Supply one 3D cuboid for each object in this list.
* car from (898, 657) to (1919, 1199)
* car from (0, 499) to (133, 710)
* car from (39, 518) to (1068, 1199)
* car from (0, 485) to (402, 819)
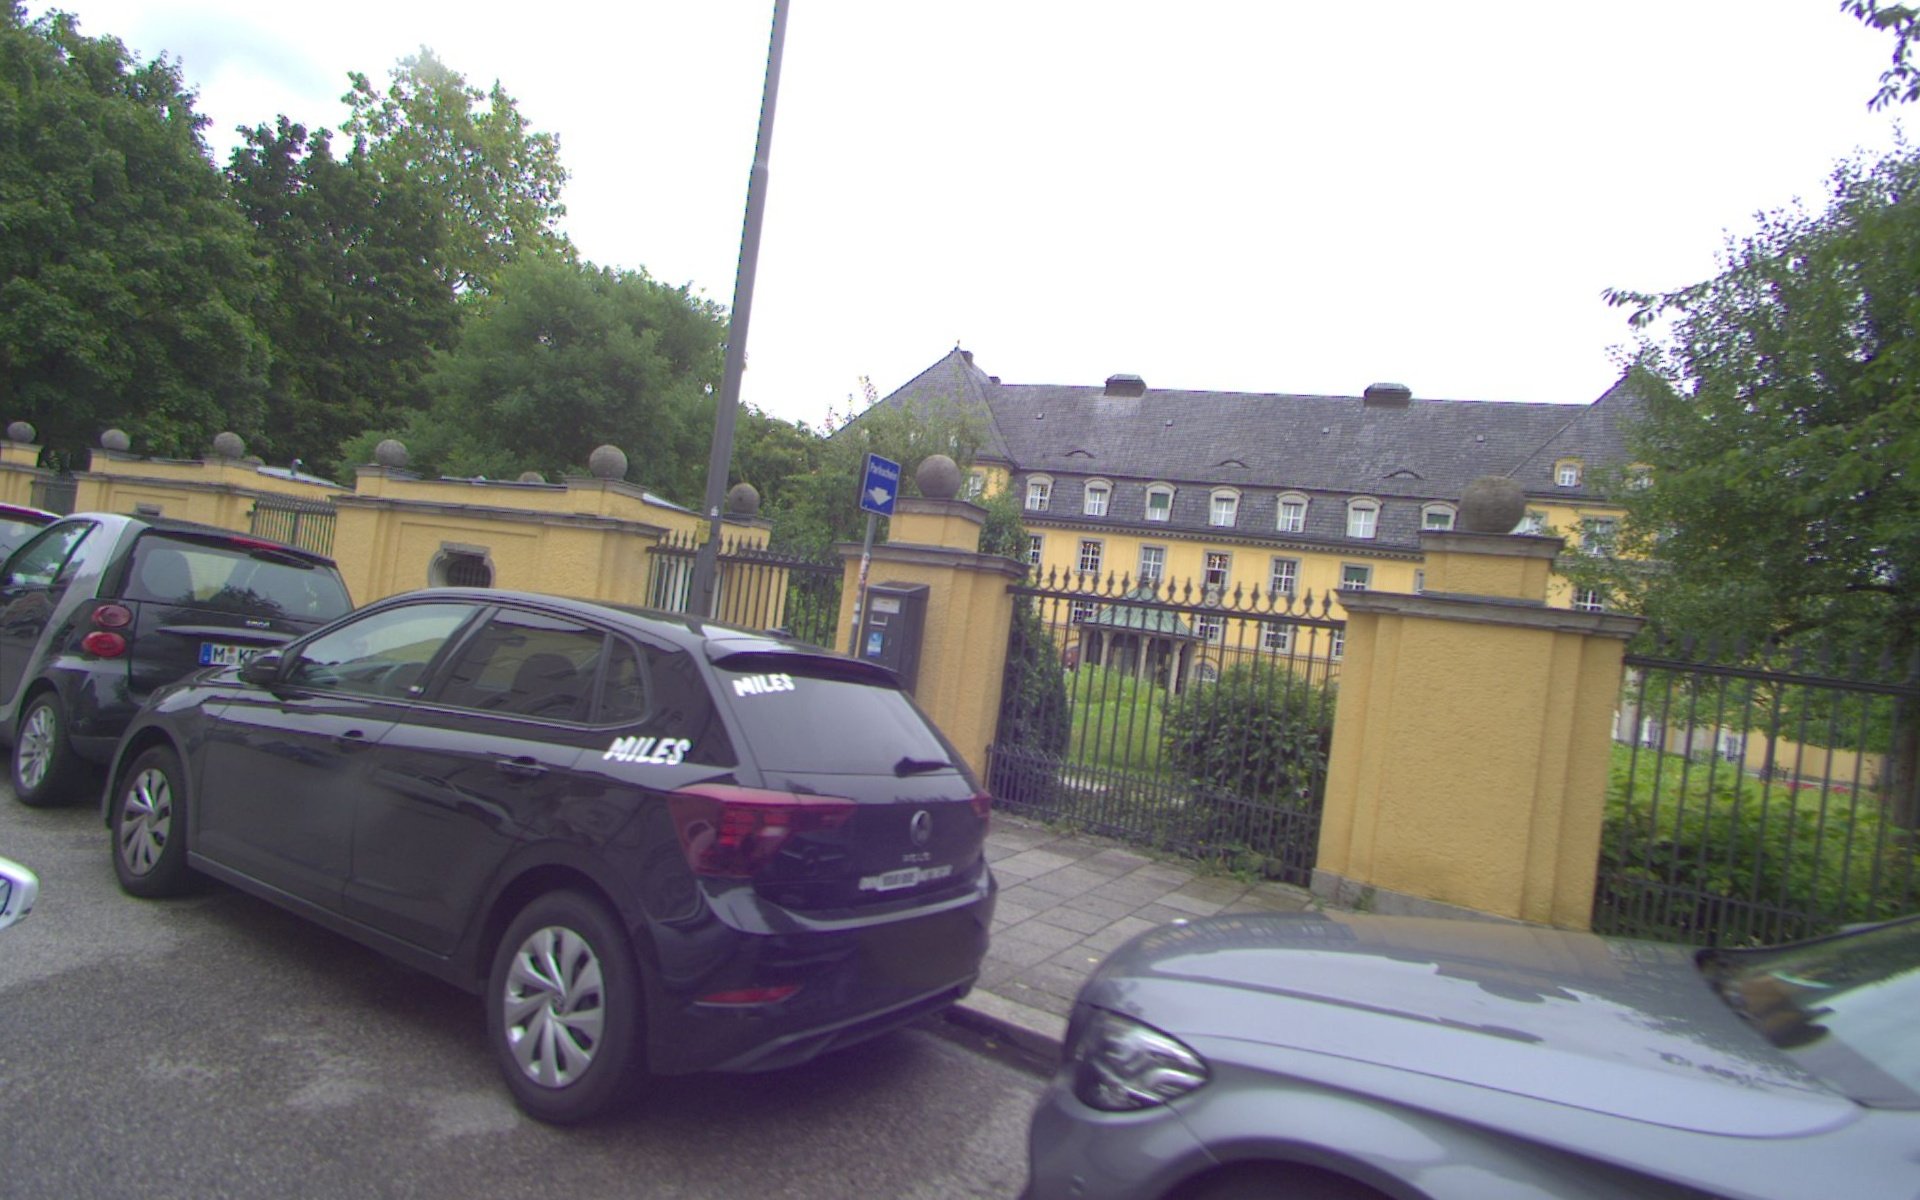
[{"bbox_3d":[2.220,1.111,1.502,4.442,1.431,1.695,6,-2,33],"label":"car"},{"bbox_3d":[-8.832,-0.156,8.464,3.629,1.556,1.490,7,-4,29],"label":"car"},{"bbox_3d":[-1.793,0.651,4.122,3.968,1.429,1.697,6,-4,31],"label":"car"},{"bbox_3d":[-5.100,0.245,6.251,2.822,1.582,1.512,6,-4,33],"label":"car"}]
